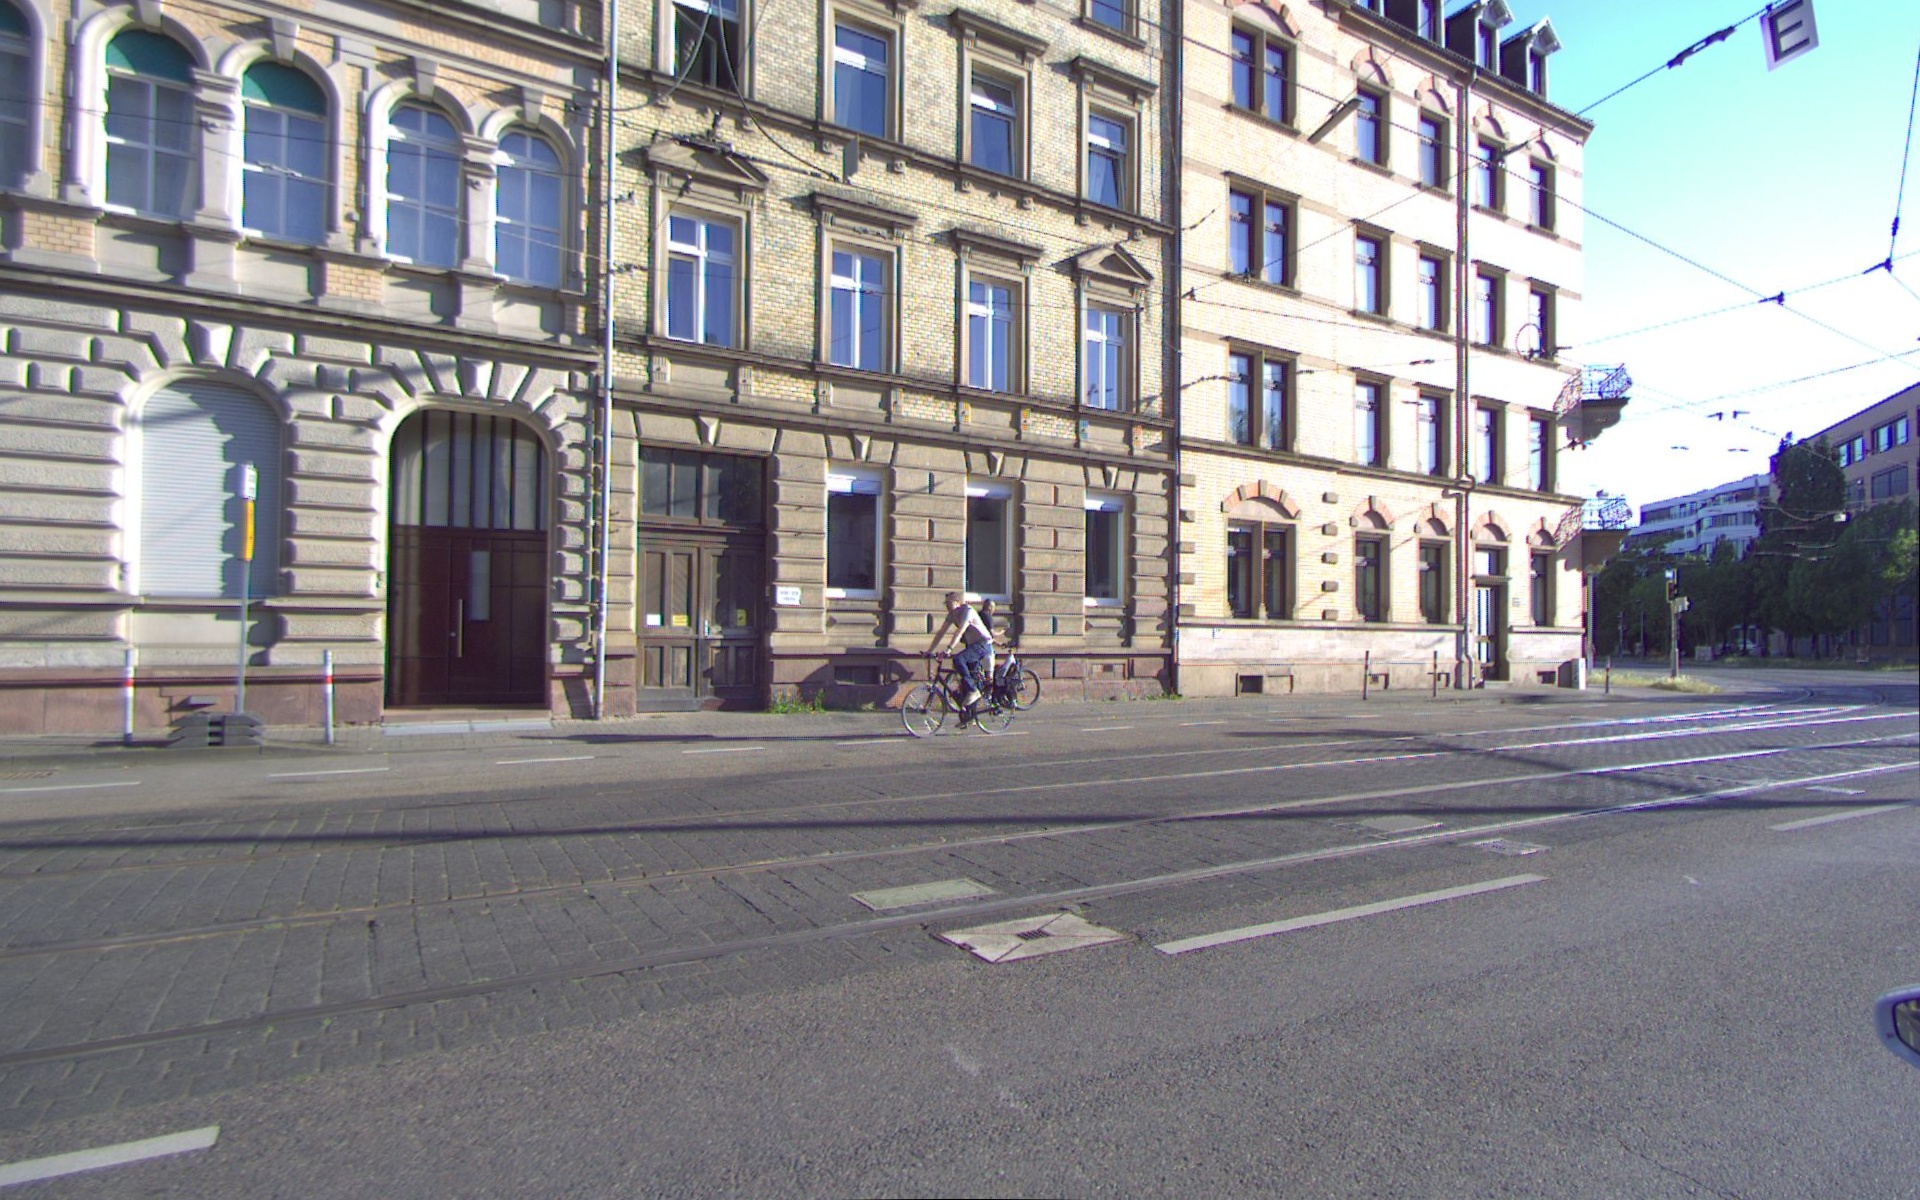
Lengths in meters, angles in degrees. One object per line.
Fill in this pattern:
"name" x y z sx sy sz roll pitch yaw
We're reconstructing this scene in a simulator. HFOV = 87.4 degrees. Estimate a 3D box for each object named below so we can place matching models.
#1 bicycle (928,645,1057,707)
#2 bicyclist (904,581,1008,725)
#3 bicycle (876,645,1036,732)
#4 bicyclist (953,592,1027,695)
"bicycle" 0.549 1.243 16.516 2.062 0.951 0.644 2 -2 -29
"bicyclist" -0.052 0.713 13.616 1.198 1.864 0.725 2 -2 -29
"bicycle" -0.037 1.165 13.614 2.091 1.098 0.723 2 -2 -29
"bicyclist" 0.488 0.721 16.500 1.023 1.634 0.632 2 -2 -28
